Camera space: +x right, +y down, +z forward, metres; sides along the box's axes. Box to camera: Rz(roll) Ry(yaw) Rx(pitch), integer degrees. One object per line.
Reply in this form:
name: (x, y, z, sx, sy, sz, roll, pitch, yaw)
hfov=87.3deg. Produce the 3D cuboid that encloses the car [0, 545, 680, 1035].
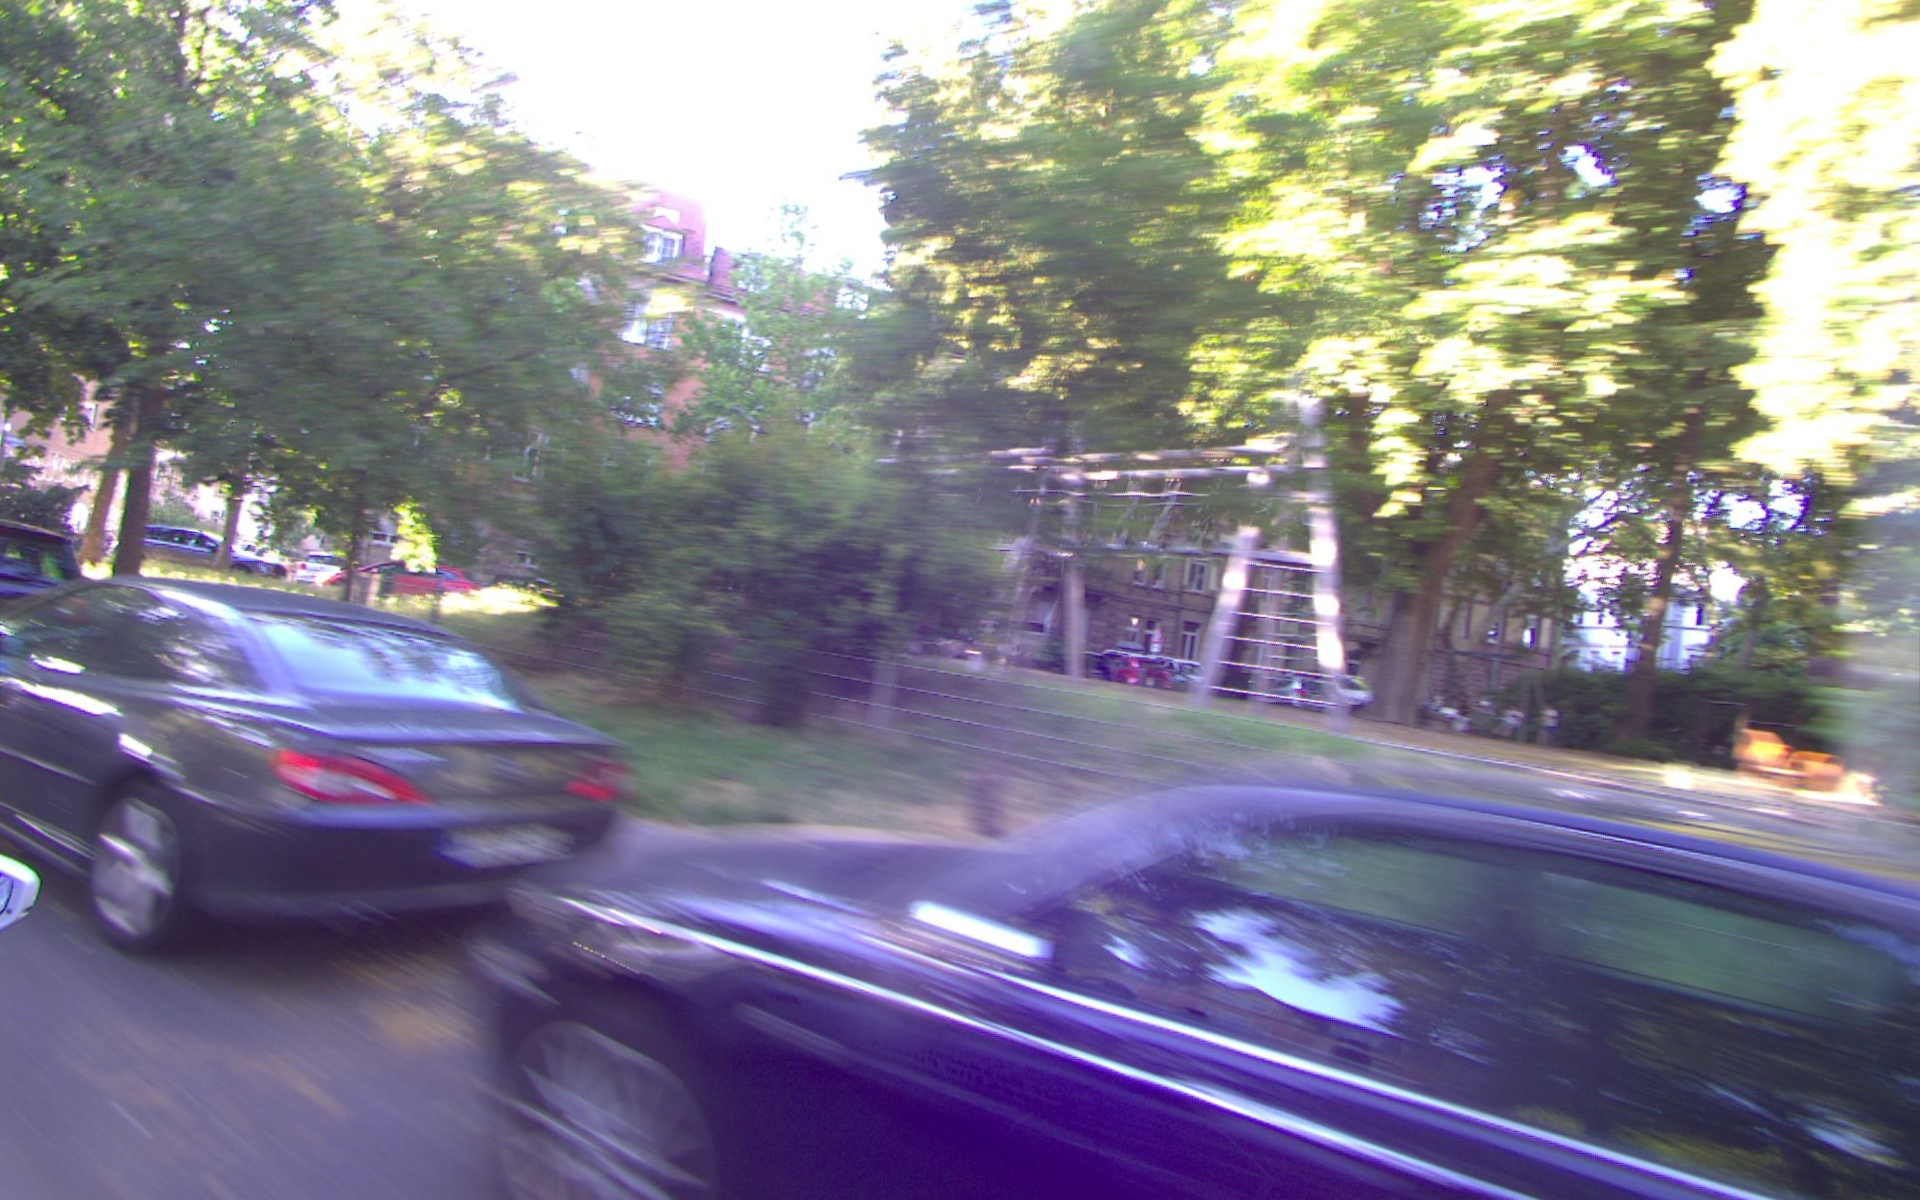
car: (-3.585, 0.569, 4.858, 4.214, 1.297, 1.685, 7, -3, 29)

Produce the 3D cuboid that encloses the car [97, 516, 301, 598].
car: (-22.024, -1.197, 29.291, 4.210, 1.567, 1.741, 8, -5, -14)

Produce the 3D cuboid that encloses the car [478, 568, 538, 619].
car: (-17.758, -0.274, 39.565, 1.885, 1.636, 3.757, 8, -2, -24)

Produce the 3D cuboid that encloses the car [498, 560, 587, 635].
car: (-12.592, 0.003, 30.623, 1.707, 1.724, 4.398, 8, -6, -14)

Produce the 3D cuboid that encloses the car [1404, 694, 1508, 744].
car: (23.462, 5.644, 47.621, 4.440, 1.652, 1.726, 9, -1, -21)

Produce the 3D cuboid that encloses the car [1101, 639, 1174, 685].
car: (8.602, 2.988, 49.102, 1.968, 1.803, 3.994, 8, -2, -12)

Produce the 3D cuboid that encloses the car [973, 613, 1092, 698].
car: (2.409, 1.837, 35.361, 2.335, 2.483, 5.498, 8, -2, -14)

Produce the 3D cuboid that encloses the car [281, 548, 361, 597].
car: (-24.232, -1.068, 38.278, 1.712, 1.490, 3.979, 9, -1, -22)

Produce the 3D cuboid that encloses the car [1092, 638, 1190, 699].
car: (6.503, 2.436, 36.645, 1.968, 1.803, 3.994, 8, -2, -12)

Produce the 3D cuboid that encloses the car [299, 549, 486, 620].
car: (-17.228, -0.424, 30.798, 4.577, 1.465, 1.740, 8, -4, -17)

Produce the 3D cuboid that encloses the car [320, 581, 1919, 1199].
car: (0.756, 0.983, 2.264, 4.580, 1.440, 1.685, 7, -3, 31)

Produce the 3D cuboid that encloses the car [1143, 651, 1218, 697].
car: (10.820, 3.594, 49.580, 1.968, 1.803, 3.994, 8, -2, -12)

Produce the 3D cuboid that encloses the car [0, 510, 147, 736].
car: (-8.409, -0.056, 7.888, 4.216, 1.543, 1.685, 7, -3, 31)
